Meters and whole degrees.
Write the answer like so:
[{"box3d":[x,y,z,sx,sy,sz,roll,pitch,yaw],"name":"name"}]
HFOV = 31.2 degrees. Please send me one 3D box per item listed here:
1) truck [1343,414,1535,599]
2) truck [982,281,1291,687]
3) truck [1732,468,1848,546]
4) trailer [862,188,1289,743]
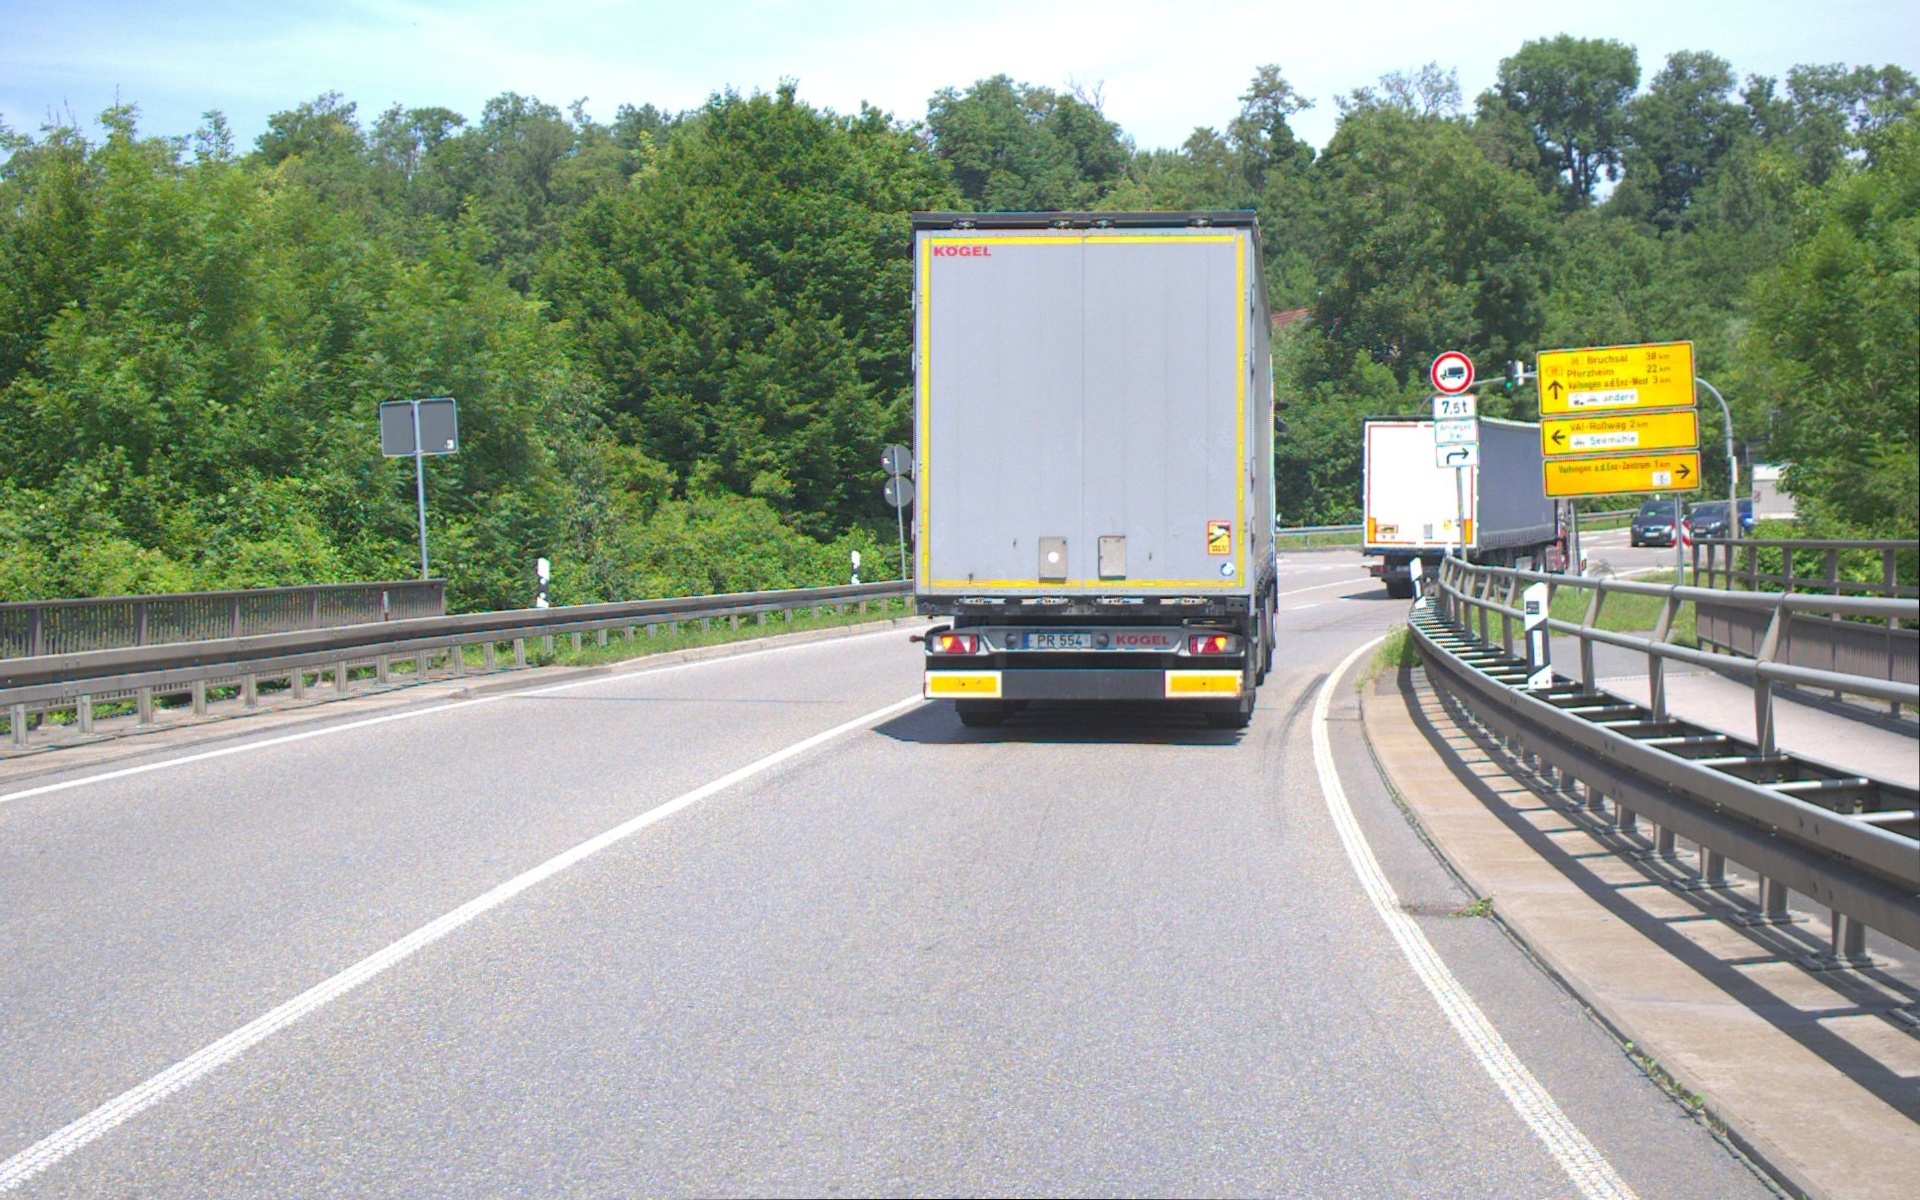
[{"box3d":[11.370,-2.103,80.616,3.181,4.015,11.737,0,1,14],"name":"truck"},{"box3d":[2.077,-1.210,37.633,3.038,4.020,6.628,0,1,6],"name":"truck"},{"box3d":[32.204,-3.634,133.209,2.859,2.938,7.095,0,2,27],"name":"truck"},{"box3d":[1.431,-1.079,31.355,3.052,4.020,12.556,0,1,6],"name":"trailer"}]
